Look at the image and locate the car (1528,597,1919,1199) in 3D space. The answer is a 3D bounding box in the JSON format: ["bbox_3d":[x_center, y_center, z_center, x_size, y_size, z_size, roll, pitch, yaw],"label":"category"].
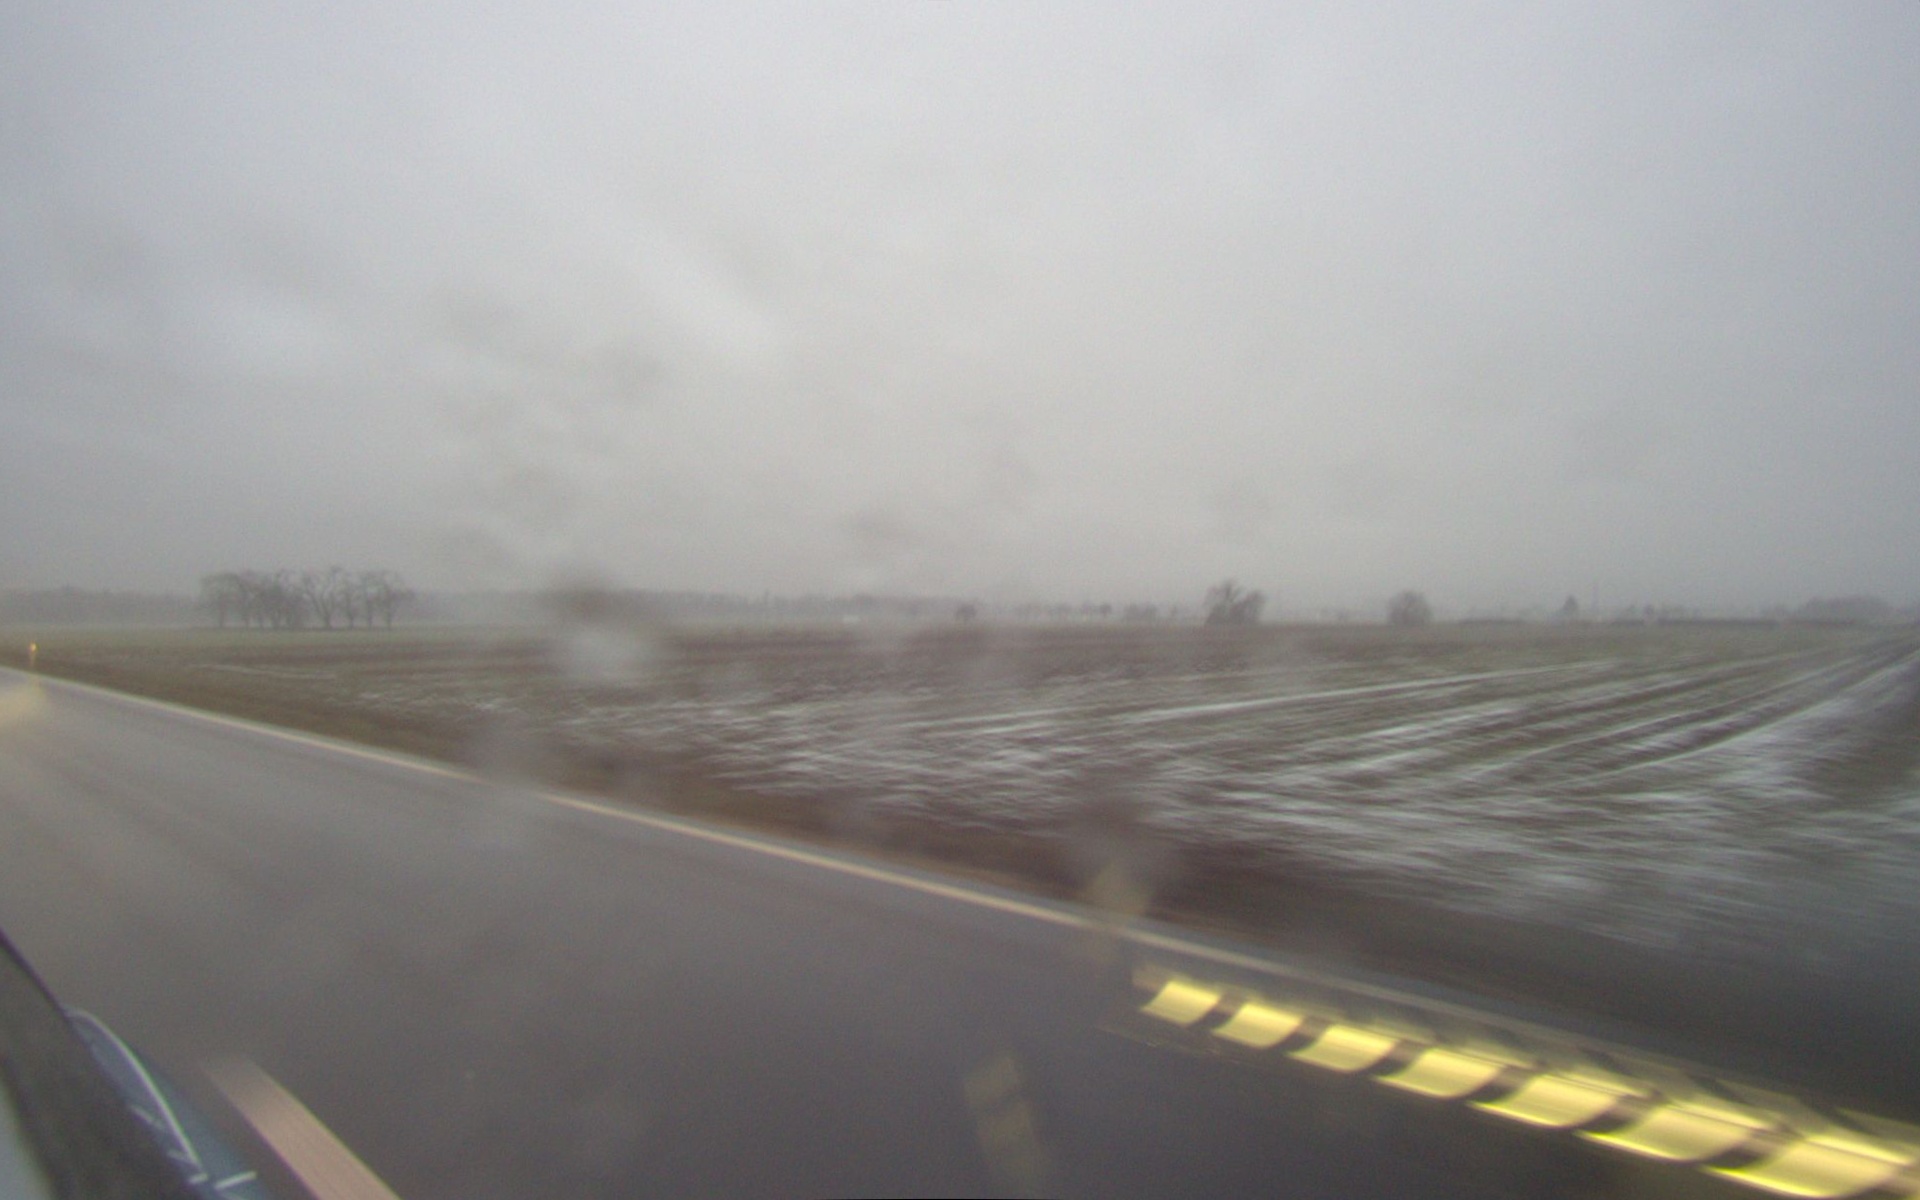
[{"bbox_3d":[2.936,0.730,0.879,4.020,1.424,1.710,-1,-4,40],"label":"car"}]
